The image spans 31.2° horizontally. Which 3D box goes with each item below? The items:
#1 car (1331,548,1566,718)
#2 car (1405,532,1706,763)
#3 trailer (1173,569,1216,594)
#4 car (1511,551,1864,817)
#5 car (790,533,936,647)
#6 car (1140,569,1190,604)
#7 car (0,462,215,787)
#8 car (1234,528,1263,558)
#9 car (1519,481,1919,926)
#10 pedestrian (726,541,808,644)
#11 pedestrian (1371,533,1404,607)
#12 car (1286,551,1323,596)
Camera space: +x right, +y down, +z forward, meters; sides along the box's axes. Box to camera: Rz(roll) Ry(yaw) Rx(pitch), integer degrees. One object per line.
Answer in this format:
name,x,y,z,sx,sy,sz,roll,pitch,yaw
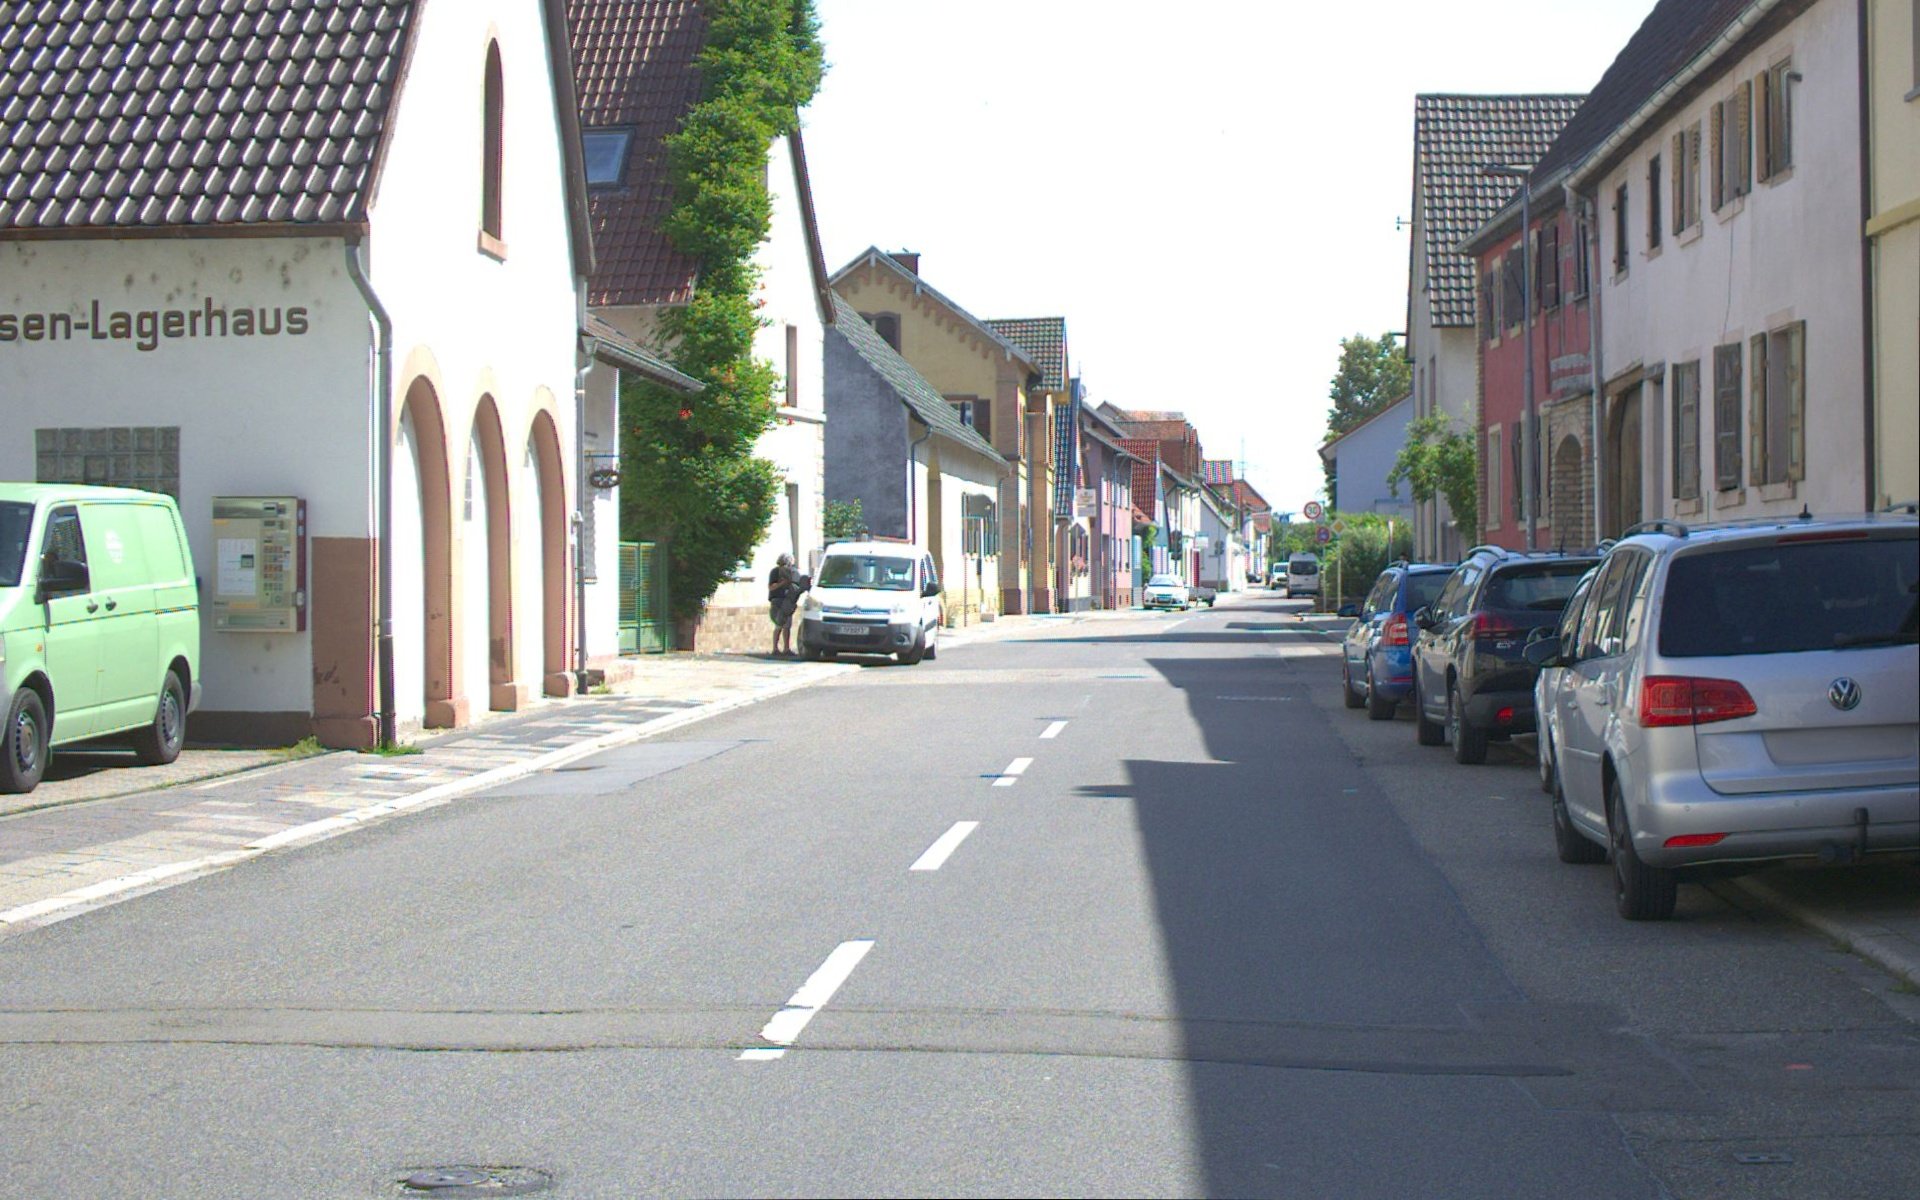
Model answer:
car,4.568,0.272,32.692,1.698,1.464,4.410,-1,1,2
car,4.411,0.312,25.981,1.699,1.578,4.027,-1,0,2
trailer,11.099,-0.890,162.411,1.994,1.086,4.000,0,2,4
car,4.306,0.444,20.809,1.551,1.433,3.720,-1,0,4
car,-1.414,-0.177,51.760,1.855,1.641,4.429,0,1,3
car,8.719,-0.569,145.856,1.994,1.437,3.999,-1,0,5
car,-6.624,0.121,22.842,1.994,1.958,4.669,0,1,5
car,21.698,-4.304,258.792,2.158,2.073,3.999,-1,-1,4
car,3.682,0.381,15.474,1.898,1.722,4.248,0,1,4
pedestrian,-2.931,-0.119,52.259,1.136,1.546,1.017,0,0,2
pedestrian,9.646,-0.672,77.498,0.719,1.658,0.892,0,0,9
car,19.922,-1.546,198.956,2.017,2.559,3.999,-1,0,5
